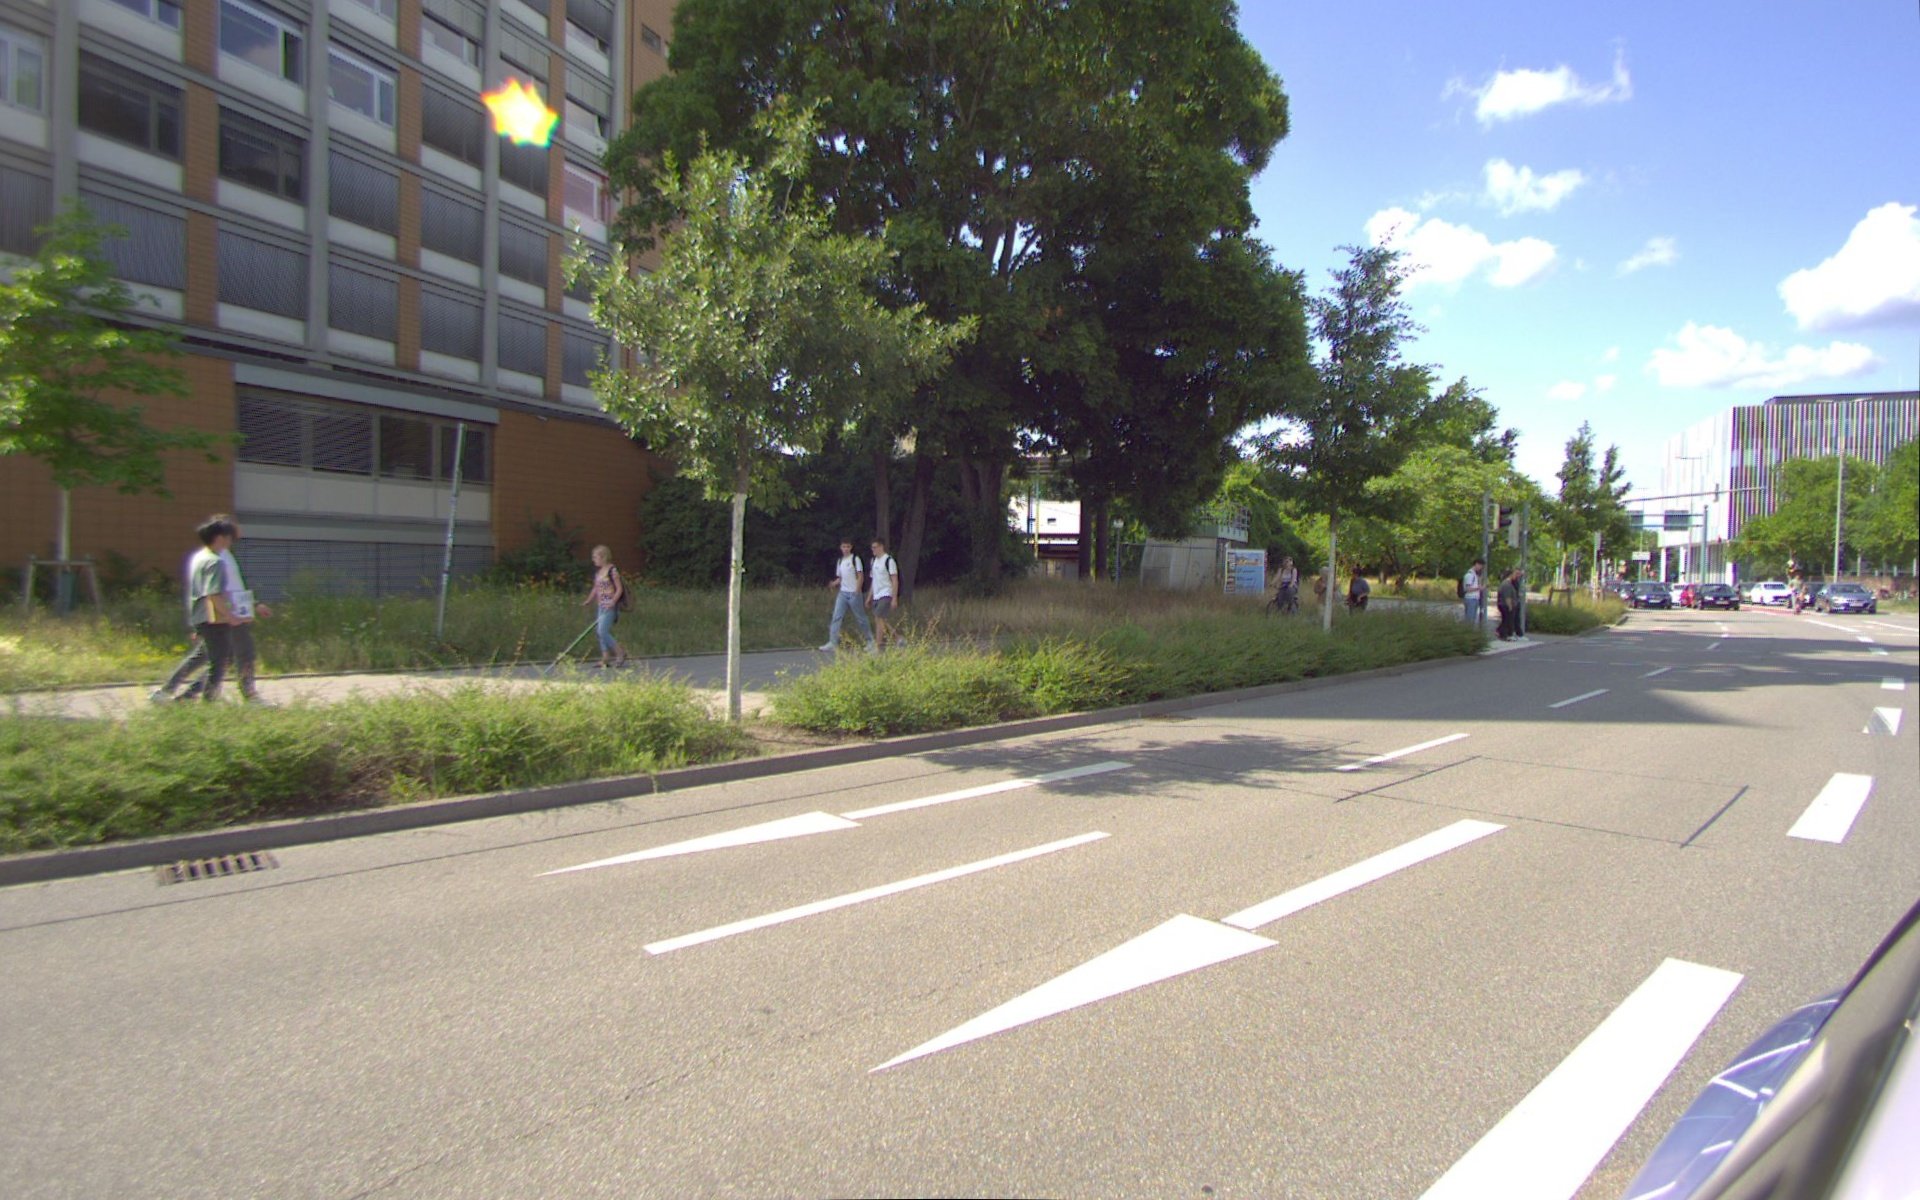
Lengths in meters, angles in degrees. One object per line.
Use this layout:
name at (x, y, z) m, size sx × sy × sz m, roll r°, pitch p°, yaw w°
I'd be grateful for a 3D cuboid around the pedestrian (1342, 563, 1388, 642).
pedestrian at (9.164, 0.051, 22.876) m, size 0.765 × 1.756 × 0.708 m, roll 0°, pitch 1°, yaw 41°

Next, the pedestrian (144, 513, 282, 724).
pedestrian at (-6.699, 0.123, 9.085) m, size 0.742 × 1.767 × 0.876 m, roll 5°, pitch 5°, yaw 44°

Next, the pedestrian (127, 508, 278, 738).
pedestrian at (-6.292, 0.148, 8.415) m, size 0.742 × 1.775 × 0.876 m, roll 5°, pitch 5°, yaw 42°

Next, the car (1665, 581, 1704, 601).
car at (42.575, -0.563, 59.517) m, size 1.586 × 1.148 × 3.588 m, roll 1°, pitch 1°, yaw 32°

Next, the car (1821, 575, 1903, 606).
car at (43.125, -0.483, 48.499) m, size 1.982 × 1.393 × 4.228 m, roll 0°, pitch 1°, yaw 28°

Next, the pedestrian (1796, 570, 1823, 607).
pedestrian at (39.414, -0.534, 46.965) m, size 0.731 × 1.736 × 0.868 m, roll 0°, pitch 0°, yaw 27°

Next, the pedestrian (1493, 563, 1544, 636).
pedestrian at (13.817, -0.017, 25.036) m, size 0.755 × 1.756 × 0.926 m, roll -1°, pitch 1°, yaw -43°

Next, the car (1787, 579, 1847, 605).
car at (47.004, -0.457, 55.597) m, size 1.717 × 1.351 × 3.753 m, roll 0°, pitch 1°, yaw 28°

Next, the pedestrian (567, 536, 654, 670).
pedestrian at (-4.504, 0.009, 13.048) m, size 0.614 × 1.641 × 0.876 m, roll 5°, pitch 5°, yaw 43°

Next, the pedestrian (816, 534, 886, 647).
pedestrian at (-1.724, -0.163, 16.065) m, size 0.614 × 1.720 × 0.876 m, roll 5°, pitch 5°, yaw 43°

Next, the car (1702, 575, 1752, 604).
car at (40.797, -0.596, 53.907) m, size 1.814 × 1.481 × 3.953 m, roll 1°, pitch 2°, yaw 33°

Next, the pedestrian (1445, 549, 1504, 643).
pedestrian at (11.512, -0.093, 22.652) m, size 0.755 × 2.039 × 0.963 m, roll -1°, pitch 1°, yaw -43°

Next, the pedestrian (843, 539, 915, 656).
pedestrian at (-1.233, -0.062, 15.518) m, size 0.614 × 1.720 × 0.876 m, roll 5°, pitch 5°, yaw 43°

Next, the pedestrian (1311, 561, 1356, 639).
pedestrian at (8.635, -0.005, 23.400) m, size 0.765 × 1.756 × 0.708 m, roll 0°, pitch 1°, yaw 41°

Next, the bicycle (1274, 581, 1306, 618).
bicycle at (8.460, -0.030, 25.999) m, size 0.639 × 0.891 × 1.815 m, roll 1°, pitch 2°, yaw 14°

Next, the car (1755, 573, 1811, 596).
car at (51.459, -0.989, 63.361) m, size 1.761 × 1.371 × 3.966 m, roll 0°, pitch 1°, yaw 25°

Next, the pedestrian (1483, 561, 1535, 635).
pedestrian at (13.283, -0.050, 24.487) m, size 0.755 × 1.756 × 0.926 m, roll -1°, pitch 1°, yaw -43°

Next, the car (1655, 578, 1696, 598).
car at (45.639, -0.800, 64.615) m, size 1.895 × 1.148 × 4.057 m, roll 2°, pitch 3°, yaw 32°

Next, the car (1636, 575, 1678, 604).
car at (37.931, -0.584, 55.109) m, size 1.815 × 1.481 × 3.951 m, roll 1°, pitch 2°, yaw 34°
